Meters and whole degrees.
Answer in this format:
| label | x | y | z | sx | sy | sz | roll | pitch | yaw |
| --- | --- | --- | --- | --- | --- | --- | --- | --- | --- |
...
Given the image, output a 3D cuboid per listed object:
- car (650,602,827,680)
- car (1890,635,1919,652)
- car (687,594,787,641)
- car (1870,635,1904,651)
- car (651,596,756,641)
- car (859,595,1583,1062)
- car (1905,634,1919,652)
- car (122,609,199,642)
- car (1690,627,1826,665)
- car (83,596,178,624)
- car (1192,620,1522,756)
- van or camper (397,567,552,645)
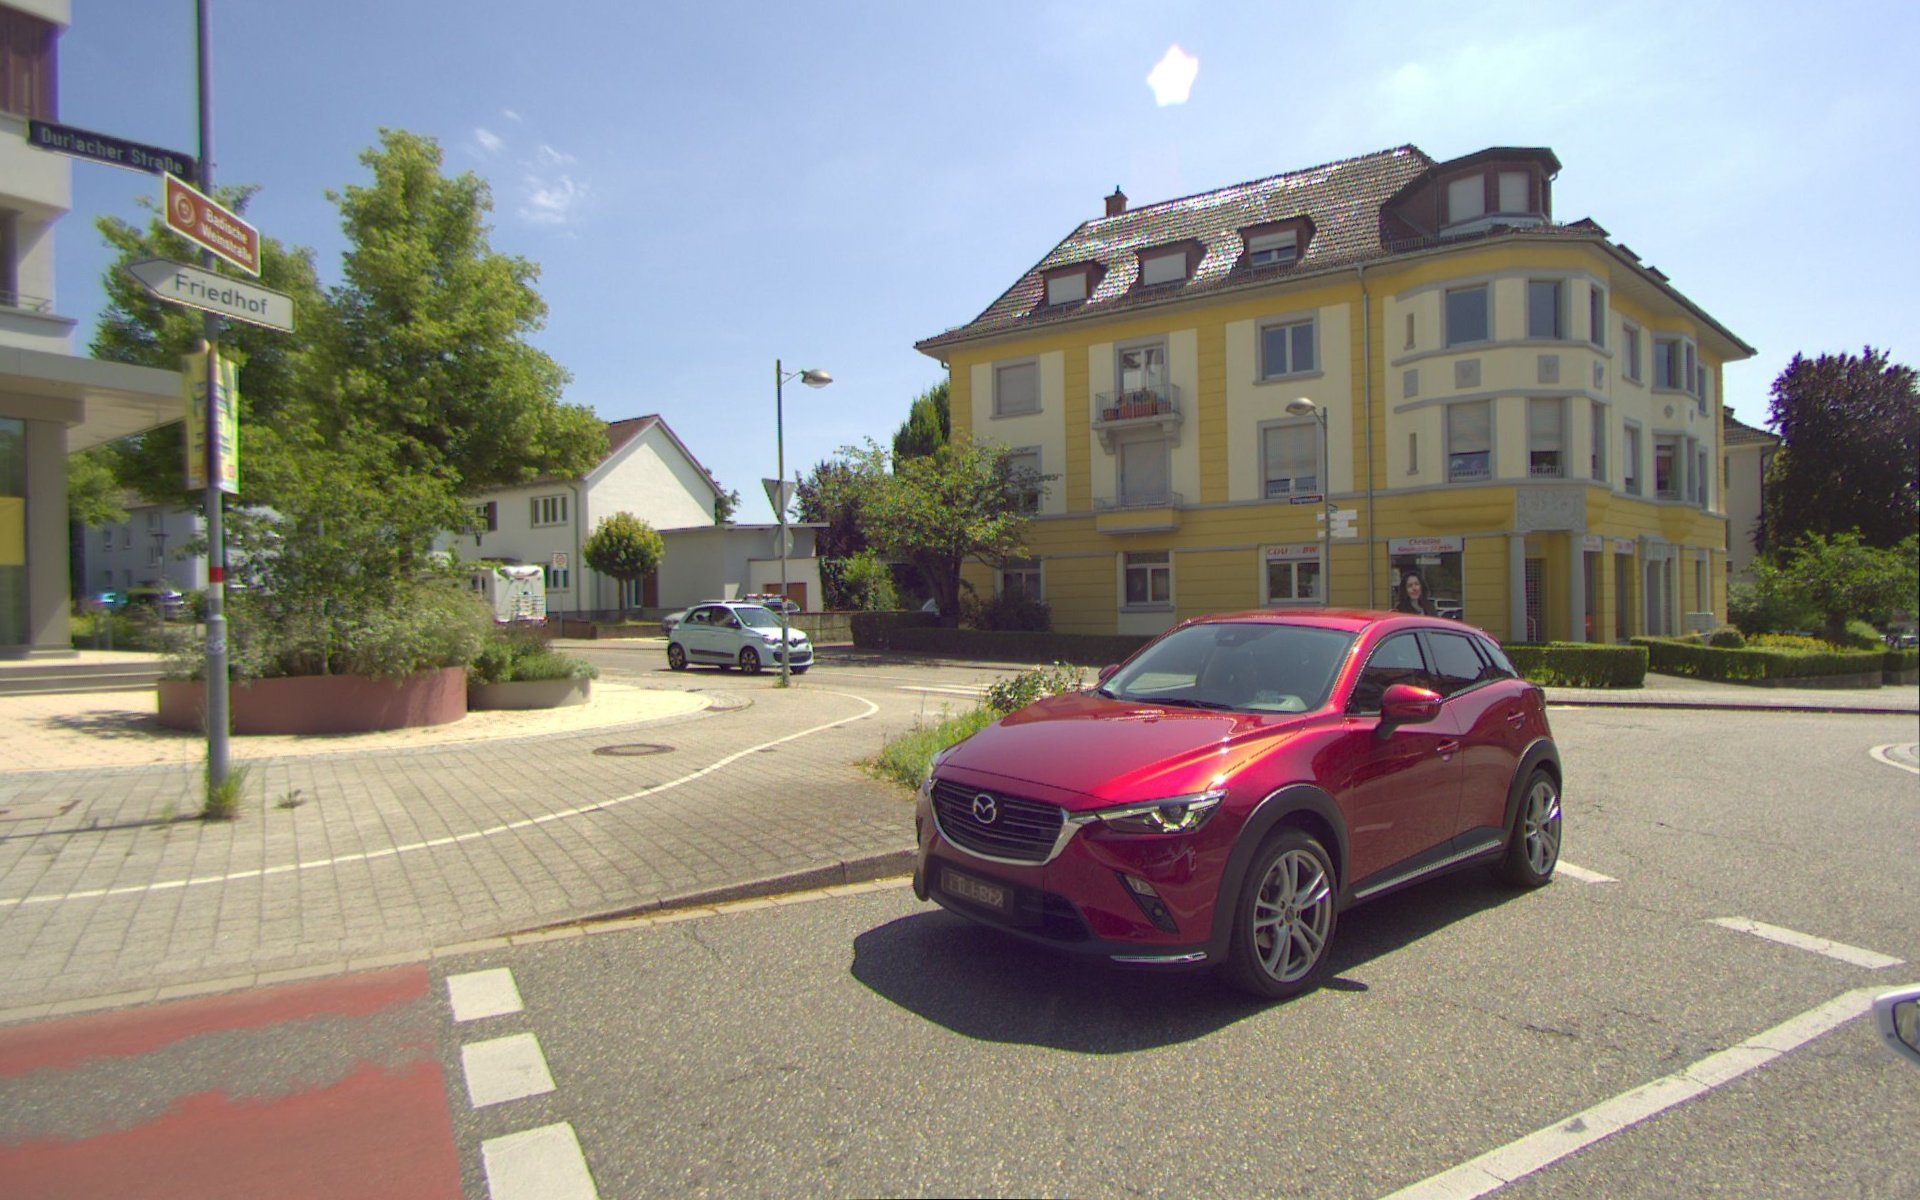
| label | x | y | z | sx | sy | sz | roll | pitch | yaw |
| --- | --- | --- | --- | --- | --- | --- | --- | --- | --- |
| car | -5.117 | 0.871 | 22.986 | 4.094 | 1.545 | 1.655 | 1 | 1 | 36 |
| car | 88.706 | 4.025 | 93.819 | 1.966 | 1.529 | 4.406 | 0 | -1 | 34 |
| car | -7.925 | 0.614 | 36.010 | 1.721 | 1.607 | 3.993 | 0 | -1 | 17 |
| car | 95.129 | 4.350 | 103.091 | 1.967 | 1.508 | 3.987 | 2 | 0 | 35 |
| car | -9.835 | 0.702 | 38.787 | 1.724 | 1.607 | 3.987 | 0 | -1 | 27 |
| car | 1.594 | 0.774 | 5.247 | 3.961 | 1.525 | 1.736 | 1 | -1 | -41 |
| car | 85.492 | 3.818 | 88.932 | 1.966 | 1.529 | 4.406 | 0 | -1 | 34 |
| car | -39.049 | 1.226 | 49.058 | 3.923 | 1.525 | 1.752 | 0 | -1 | 32 |
| car | 34.800 | 1.977 | 43.972 | 4.339 | 1.529 | 1.997 | 0 | -1 | 29 |
| car | -50.859 | 0.616 | 61.679 | 1.782 | 1.630 | 4.117 | 1 | -1 | 24 |
| car | 5.017 | 1.030 | 13.313 | 1.693 | 1.466 | 4.034 | -1 | -1 | -24 |
| van or camper | -17.861 | 0.159 | 36.858 | 5.782 | 2.674 | 2.269 | 0 | 2 | 31 |
